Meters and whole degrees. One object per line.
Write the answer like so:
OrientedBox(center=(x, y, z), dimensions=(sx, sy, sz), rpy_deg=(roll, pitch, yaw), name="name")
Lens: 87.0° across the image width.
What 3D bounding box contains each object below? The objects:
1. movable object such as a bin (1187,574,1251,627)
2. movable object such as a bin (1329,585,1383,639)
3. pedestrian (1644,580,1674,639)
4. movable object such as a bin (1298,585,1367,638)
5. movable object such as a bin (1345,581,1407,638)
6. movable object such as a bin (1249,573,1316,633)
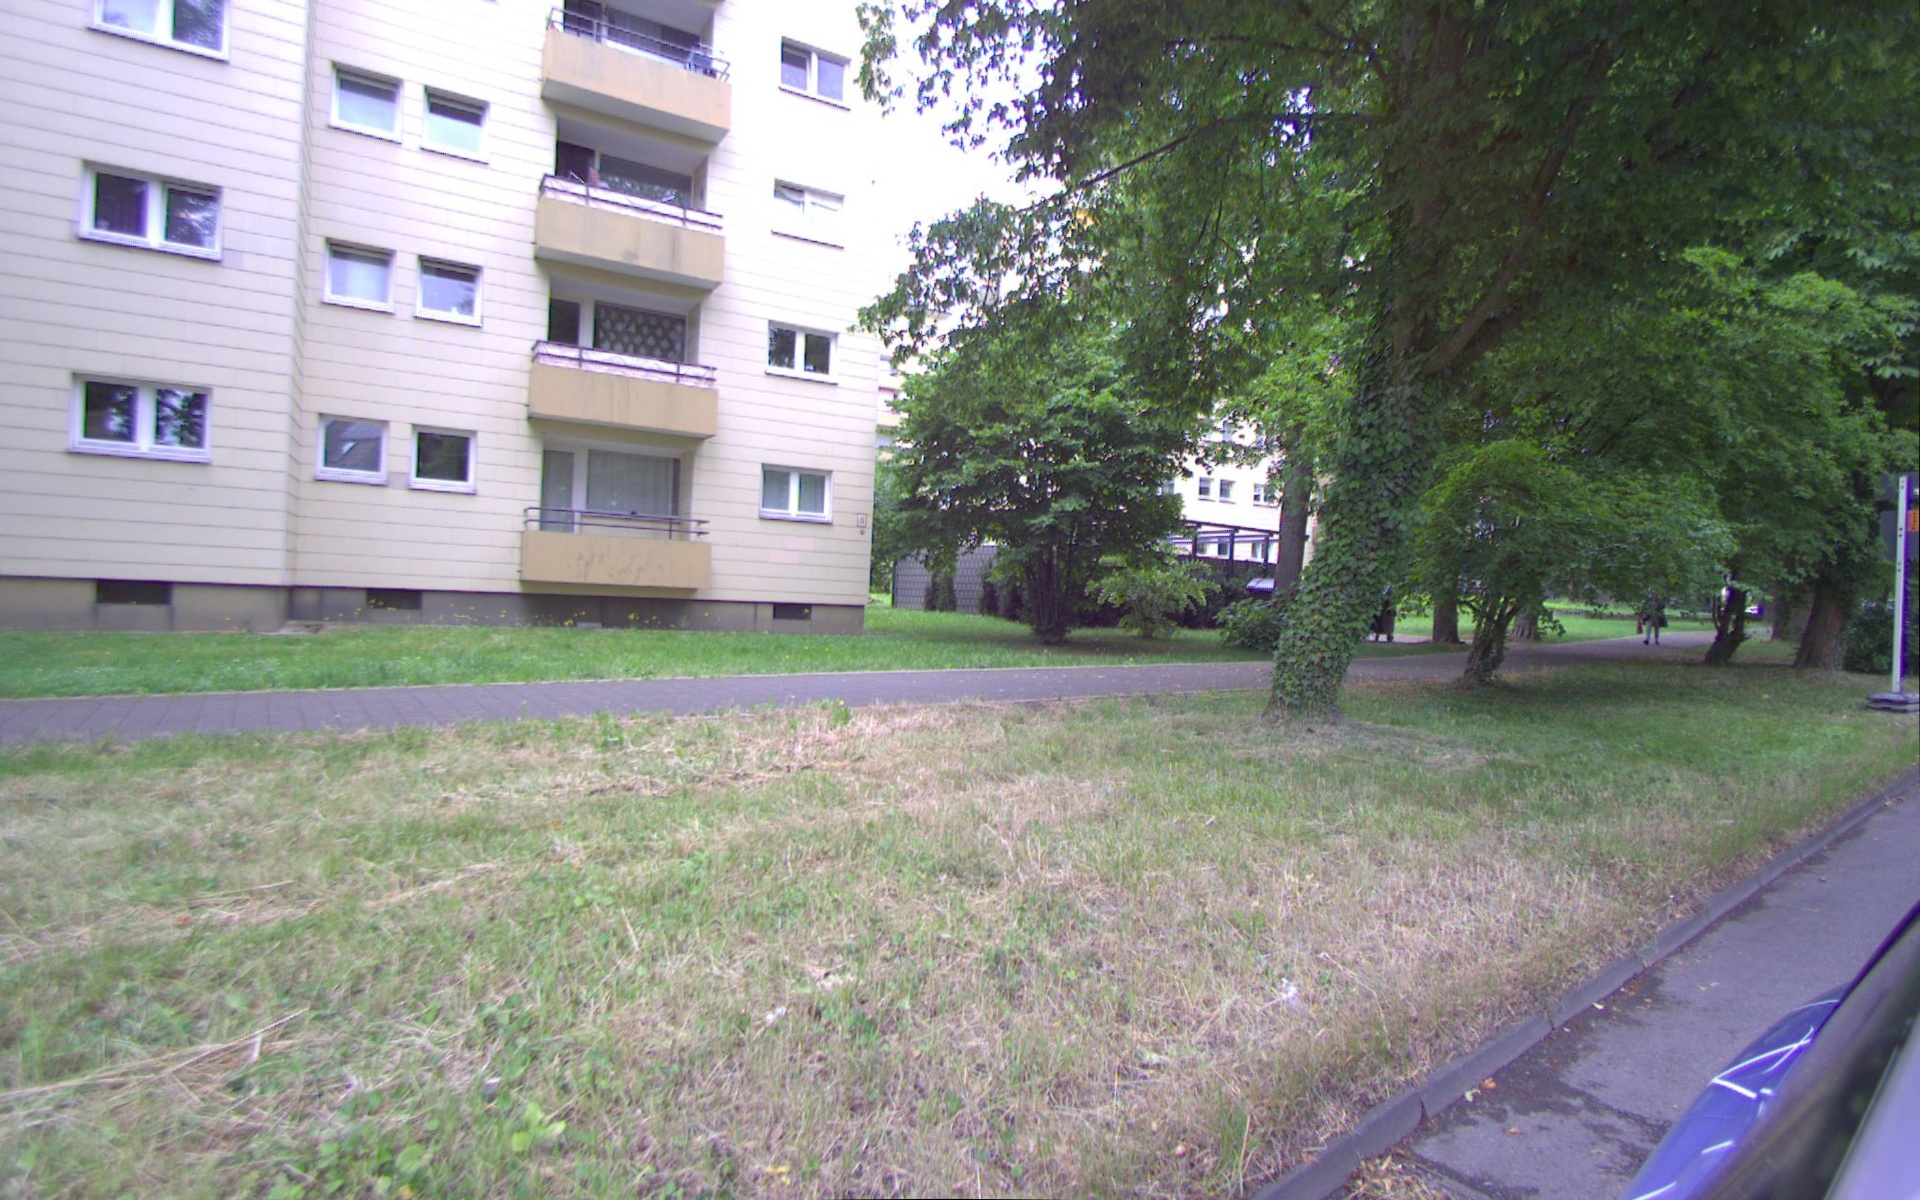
OrientedBox(center=(7.082, 0.000, 27.684), dimensions=(1.190, 1.358, 1.329), rpy_deg=(3, 2, 41), name="movable object such as a bin")
OrientedBox(center=(10.224, 0.297, 26.118), dimensions=(1.022, 1.320, 0.946), rpy_deg=(3, 1, 41), name="movable object such as a bin")
OrientedBox(center=(21.683, 0.288, 31.413), dimensions=(0.560, 1.762, 0.565), rpy_deg=(1, 2, -42), name="pedestrian")
OrientedBox(center=(9.337, 0.274, 25.343), dimensions=(1.190, 1.236, 1.329), rpy_deg=(3, 2, 41), name="movable object such as a bin")
OrientedBox(center=(11.024, 0.238, 26.838), dimensions=(1.190, 1.431, 1.094), rpy_deg=(3, 1, 41), name="movable object such as a bin")
OrientedBox(center=(8.347, 0.058, 26.213), dimensions=(1.190, 1.475, 1.329), rpy_deg=(3, 2, 41), name="movable object such as a bin")
